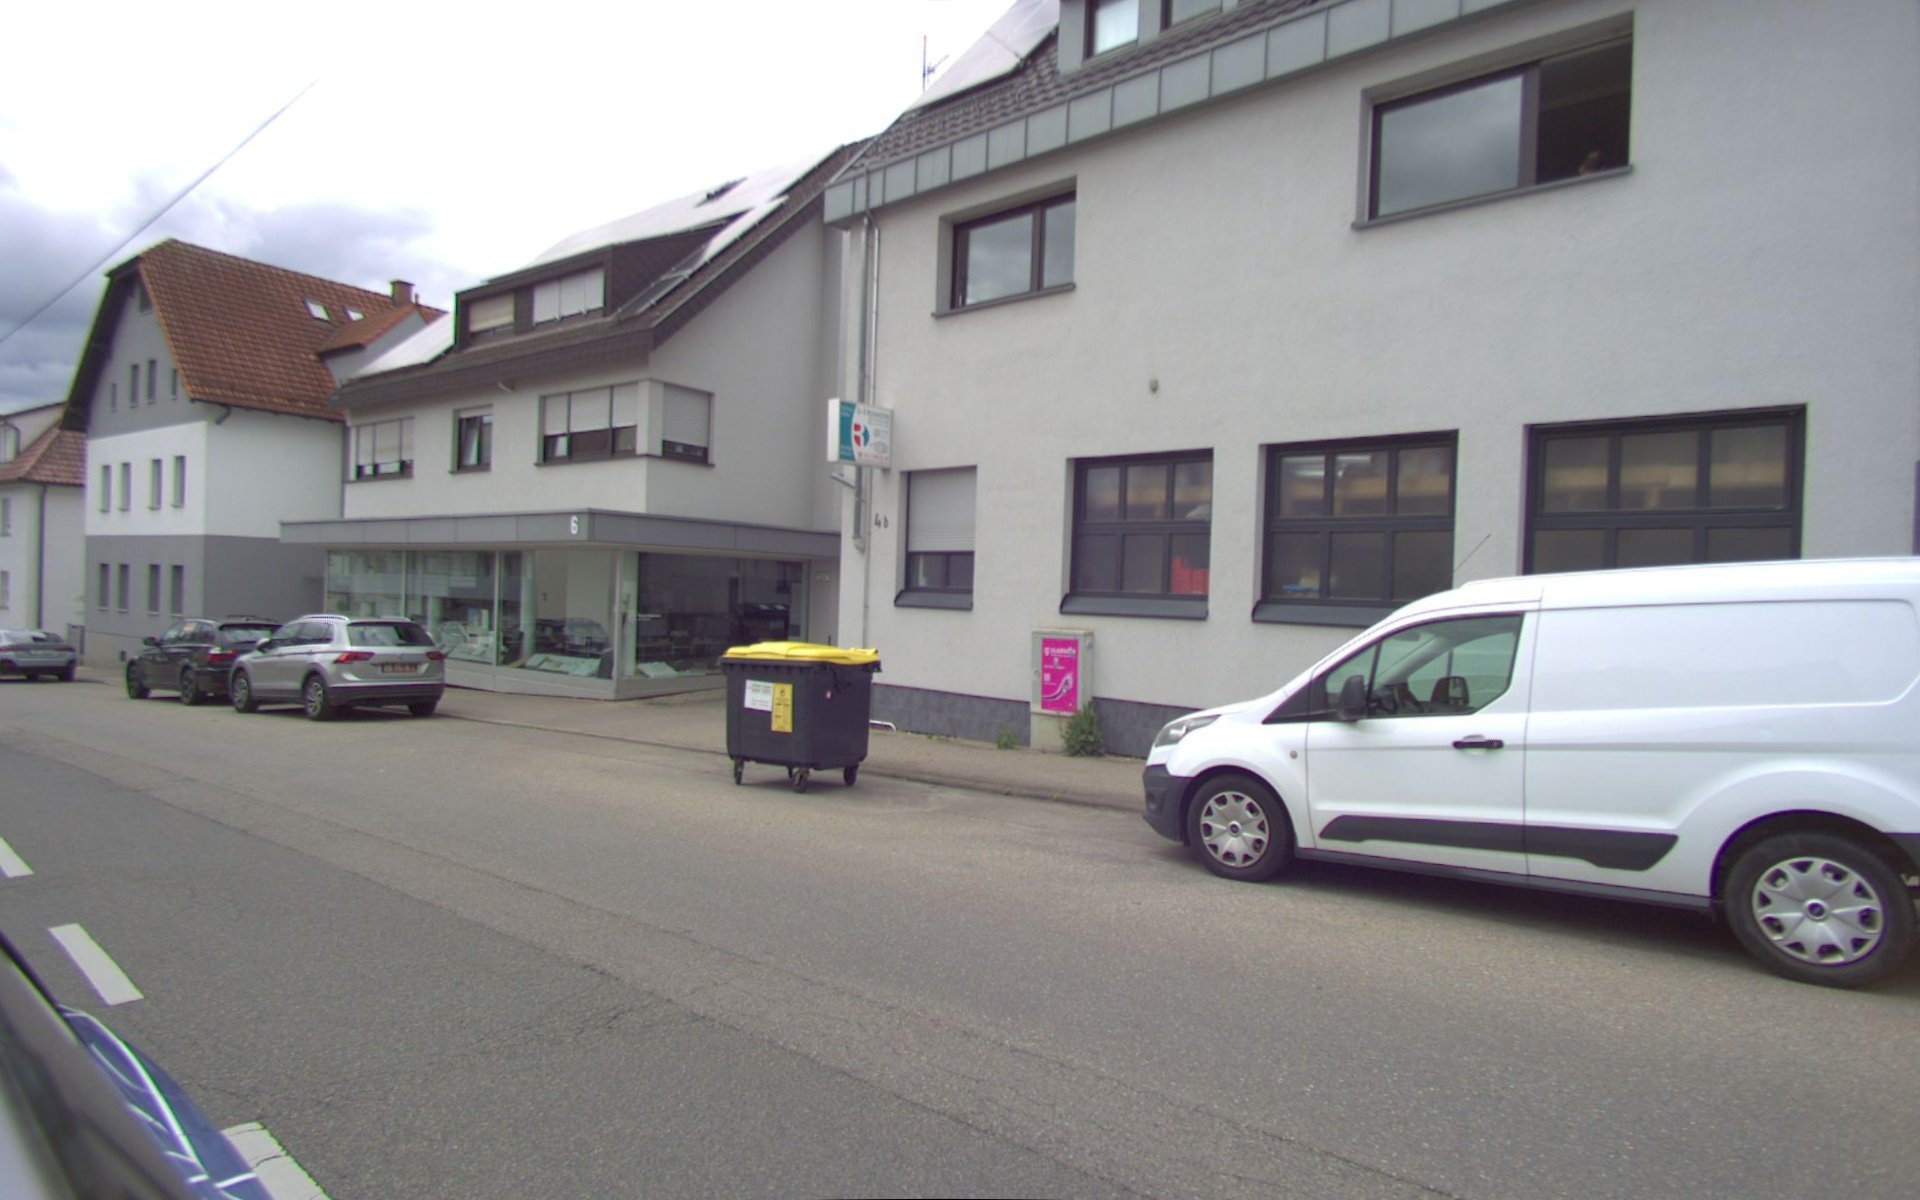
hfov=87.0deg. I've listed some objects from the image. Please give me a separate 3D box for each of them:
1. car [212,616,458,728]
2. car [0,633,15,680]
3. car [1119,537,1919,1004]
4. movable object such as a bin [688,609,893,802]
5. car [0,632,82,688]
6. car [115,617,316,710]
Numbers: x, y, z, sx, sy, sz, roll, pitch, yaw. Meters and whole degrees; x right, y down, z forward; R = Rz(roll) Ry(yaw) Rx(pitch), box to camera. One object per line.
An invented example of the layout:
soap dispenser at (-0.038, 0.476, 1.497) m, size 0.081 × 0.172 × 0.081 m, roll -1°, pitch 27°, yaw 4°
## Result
car at (-10.463, 1.123, 16.845) m, size 4.397 × 1.645 × 1.822 m, roll -1°, pitch -3°, yaw 34°
car at (-31.772, 1.742, 31.915) m, size 3.986 × 1.456 × 1.824 m, roll -1°, pitch -3°, yaw 31°
car at (3.189, 0.742, 5.661) m, size 4.294 × 1.846 × 1.716 m, roll -1°, pitch -4°, yaw 40°
movable object such as a bin at (-1.597, 0.934, 9.579) m, size 1.559 × 1.645 × 1.130 m, roll -1°, pitch -3°, yaw 34°
car at (-26.293, 1.622, 28.060) m, size 4.455 × 1.456 × 1.822 m, roll -1°, pitch -3°, yaw 34°
car at (-14.814, 1.212, 20.083) m, size 4.397 × 1.645 × 1.822 m, roll -1°, pitch -3°, yaw 34°
